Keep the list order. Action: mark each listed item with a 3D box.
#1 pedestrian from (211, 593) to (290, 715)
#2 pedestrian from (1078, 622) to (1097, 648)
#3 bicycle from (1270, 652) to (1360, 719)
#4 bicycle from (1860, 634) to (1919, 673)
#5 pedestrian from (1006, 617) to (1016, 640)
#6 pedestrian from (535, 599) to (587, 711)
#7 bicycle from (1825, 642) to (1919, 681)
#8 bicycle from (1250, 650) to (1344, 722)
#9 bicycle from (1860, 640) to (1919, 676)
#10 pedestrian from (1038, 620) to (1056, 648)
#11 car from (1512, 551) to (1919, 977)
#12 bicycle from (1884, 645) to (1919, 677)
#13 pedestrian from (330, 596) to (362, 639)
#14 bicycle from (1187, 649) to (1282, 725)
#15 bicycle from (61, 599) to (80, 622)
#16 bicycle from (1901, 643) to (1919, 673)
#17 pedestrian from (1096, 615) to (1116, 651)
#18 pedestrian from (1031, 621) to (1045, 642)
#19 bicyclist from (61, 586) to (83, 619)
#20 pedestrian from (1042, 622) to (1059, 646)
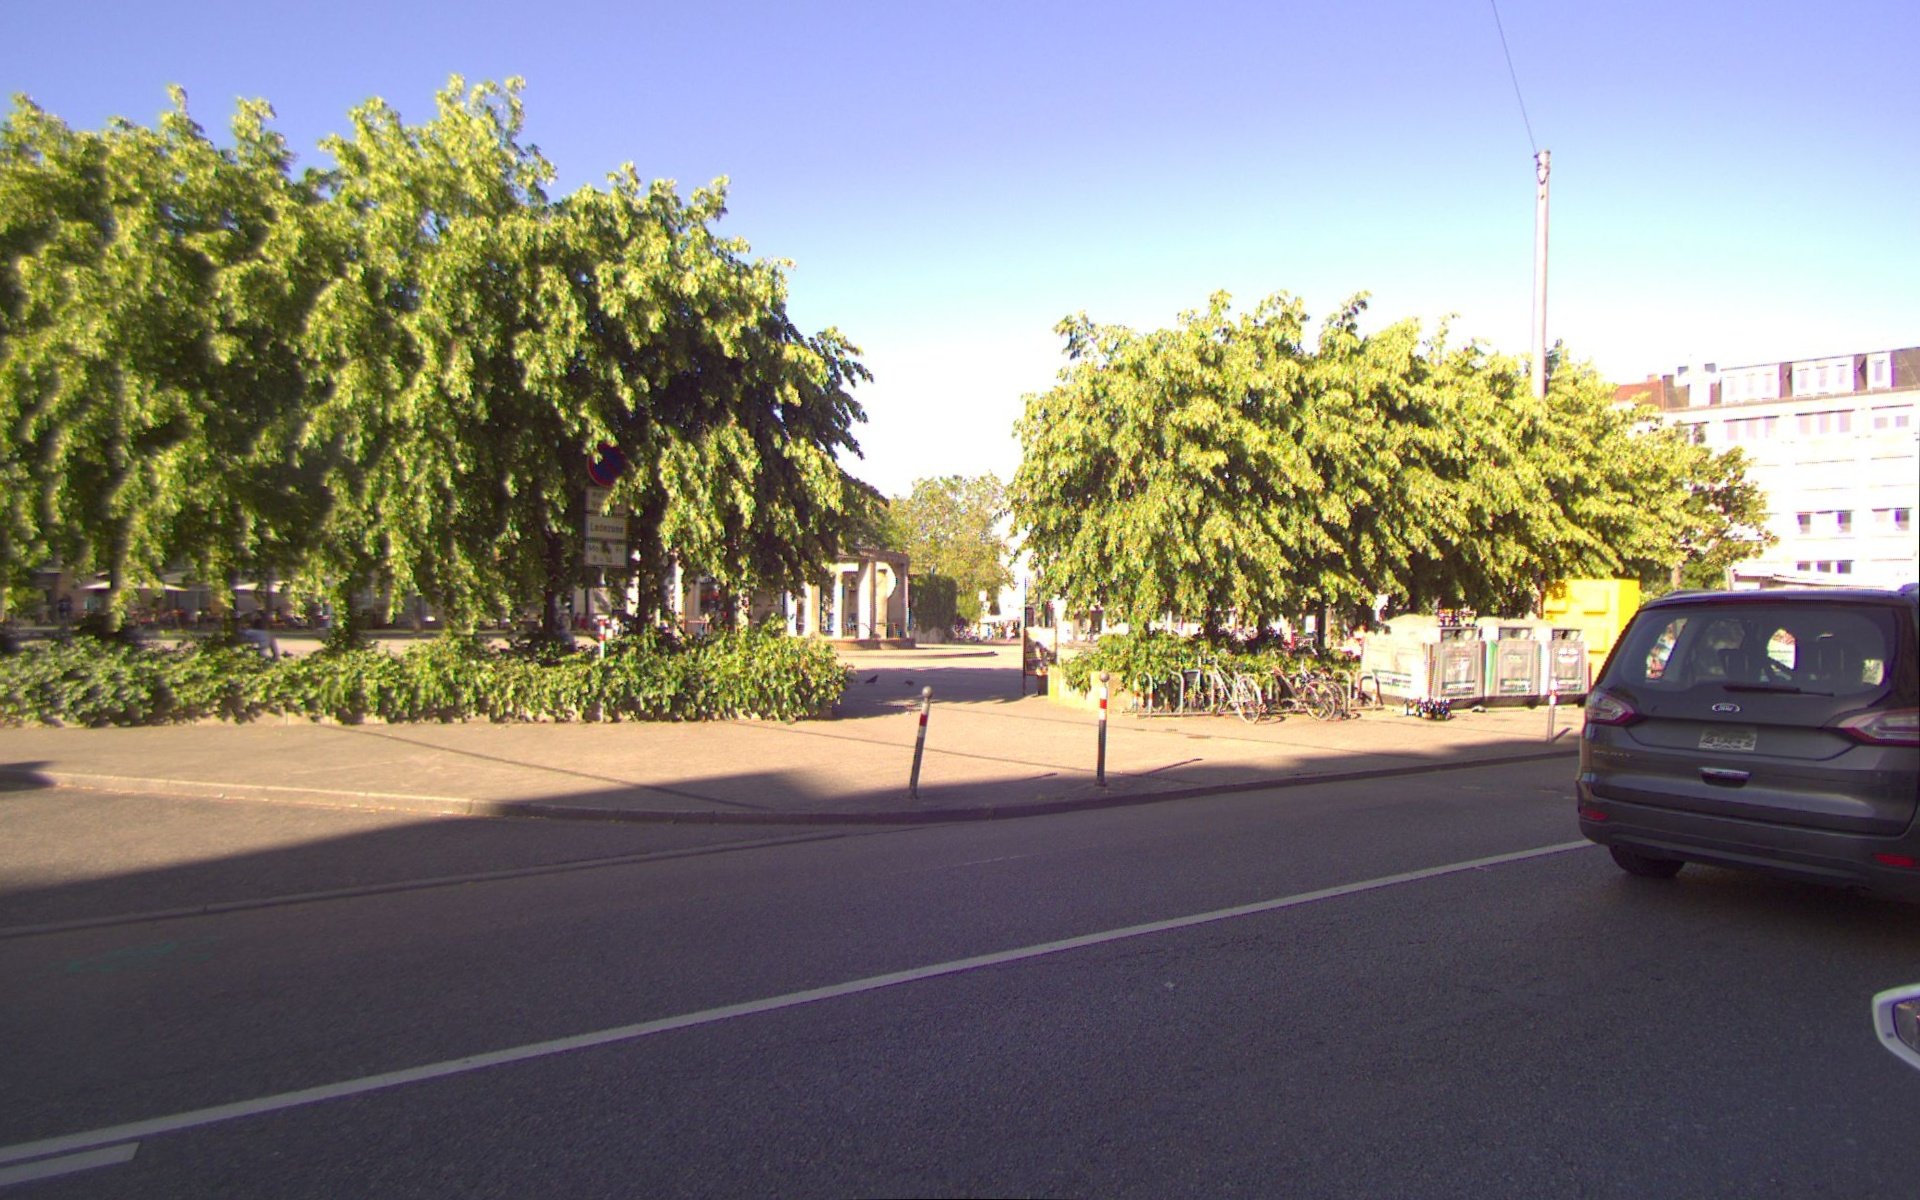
[{"bbox_3d":[-10.748,0.801,15.238,0.725,1.781,0.895,1,-1,-19],"label":"pedestrian"},{"bbox_3d":[10.129,2.798,79.915,1.252,2.040,1.285,1,-1,-4],"label":"pedestrian"},{"bbox_3d":[5.787,1.378,16.453,0.425,0.971,1.518,0,0,-28],"label":"bicycle"},{"bbox_3d":[34.484,1.941,36.523,0.913,1.341,2.461,1,-1,-35],"label":"bicycle"},{"bbox_3d":[4.695,2.637,93.098,0.886,2.040,1.286,1,0,4],"label":"pedestrian"},{"bbox_3d":[-6.540,0.891,16.515,0.725,1.781,0.895,1,-1,-19],"label":"pedestrian"},{"bbox_3d":[30.909,2.054,33.869,0.833,1.171,2.493,1,-1,-31],"label":"bicycle"},{"bbox_3d":[5.390,1.352,16.130,0.425,1.036,1.561,1,-1,-28],"label":"bicycle"},{"bbox_3d":[33.124,2.034,35.034,0.833,1.171,2.449,1,-1,-31],"label":"bicycle"},{"bbox_3d":[6.291,2.461,73.019,0.806,2.040,1.045,1,-1,-36],"label":"pedestrian"},{"bbox_3d":[5.653,0.757,6.129,4.675,1.795,1.983,1,-2,-32],"label":"car"},{"bbox_3d":[36.758,2.325,38.030,0.834,1.171,2.517,1,-1,-34],"label":"bicycle"},{"bbox_3d":[-26.060,0.753,42.667,0.723,1.781,0.898,1,-1,28],"label":"pedestrian"},{"bbox_3d":[4.221,1.319,15.547,0.425,1.031,1.590,1,0,-28],"label":"bicycle"},{"bbox_3d":[-39.257,0.476,44.348,0.584,0.966,1.884,2,-2,-41],"label":"bicycle"},{"bbox_3d":[38.682,2.313,39.509,0.834,1.171,2.308,1,-1,-34],"label":"bicycle"},{"bbox_3d":[8.426,1.904,57.971,0.912,2.040,1.185,1,-1,0],"label":"pedestrian"},{"bbox_3d":[7.875,3.157,101.428,1.252,2.040,1.285,1,-1,-4],"label":"pedestrian"},{"bbox_3d":[-39.249,0.118,44.398,0.668,1.447,0.690,1,-1,-43],"label":"bicyclist"},{"bbox_3d":[8.099,3.048,89.924,1.252,2.040,1.285,1,-1,-4],"label":"pedestrian"}]
